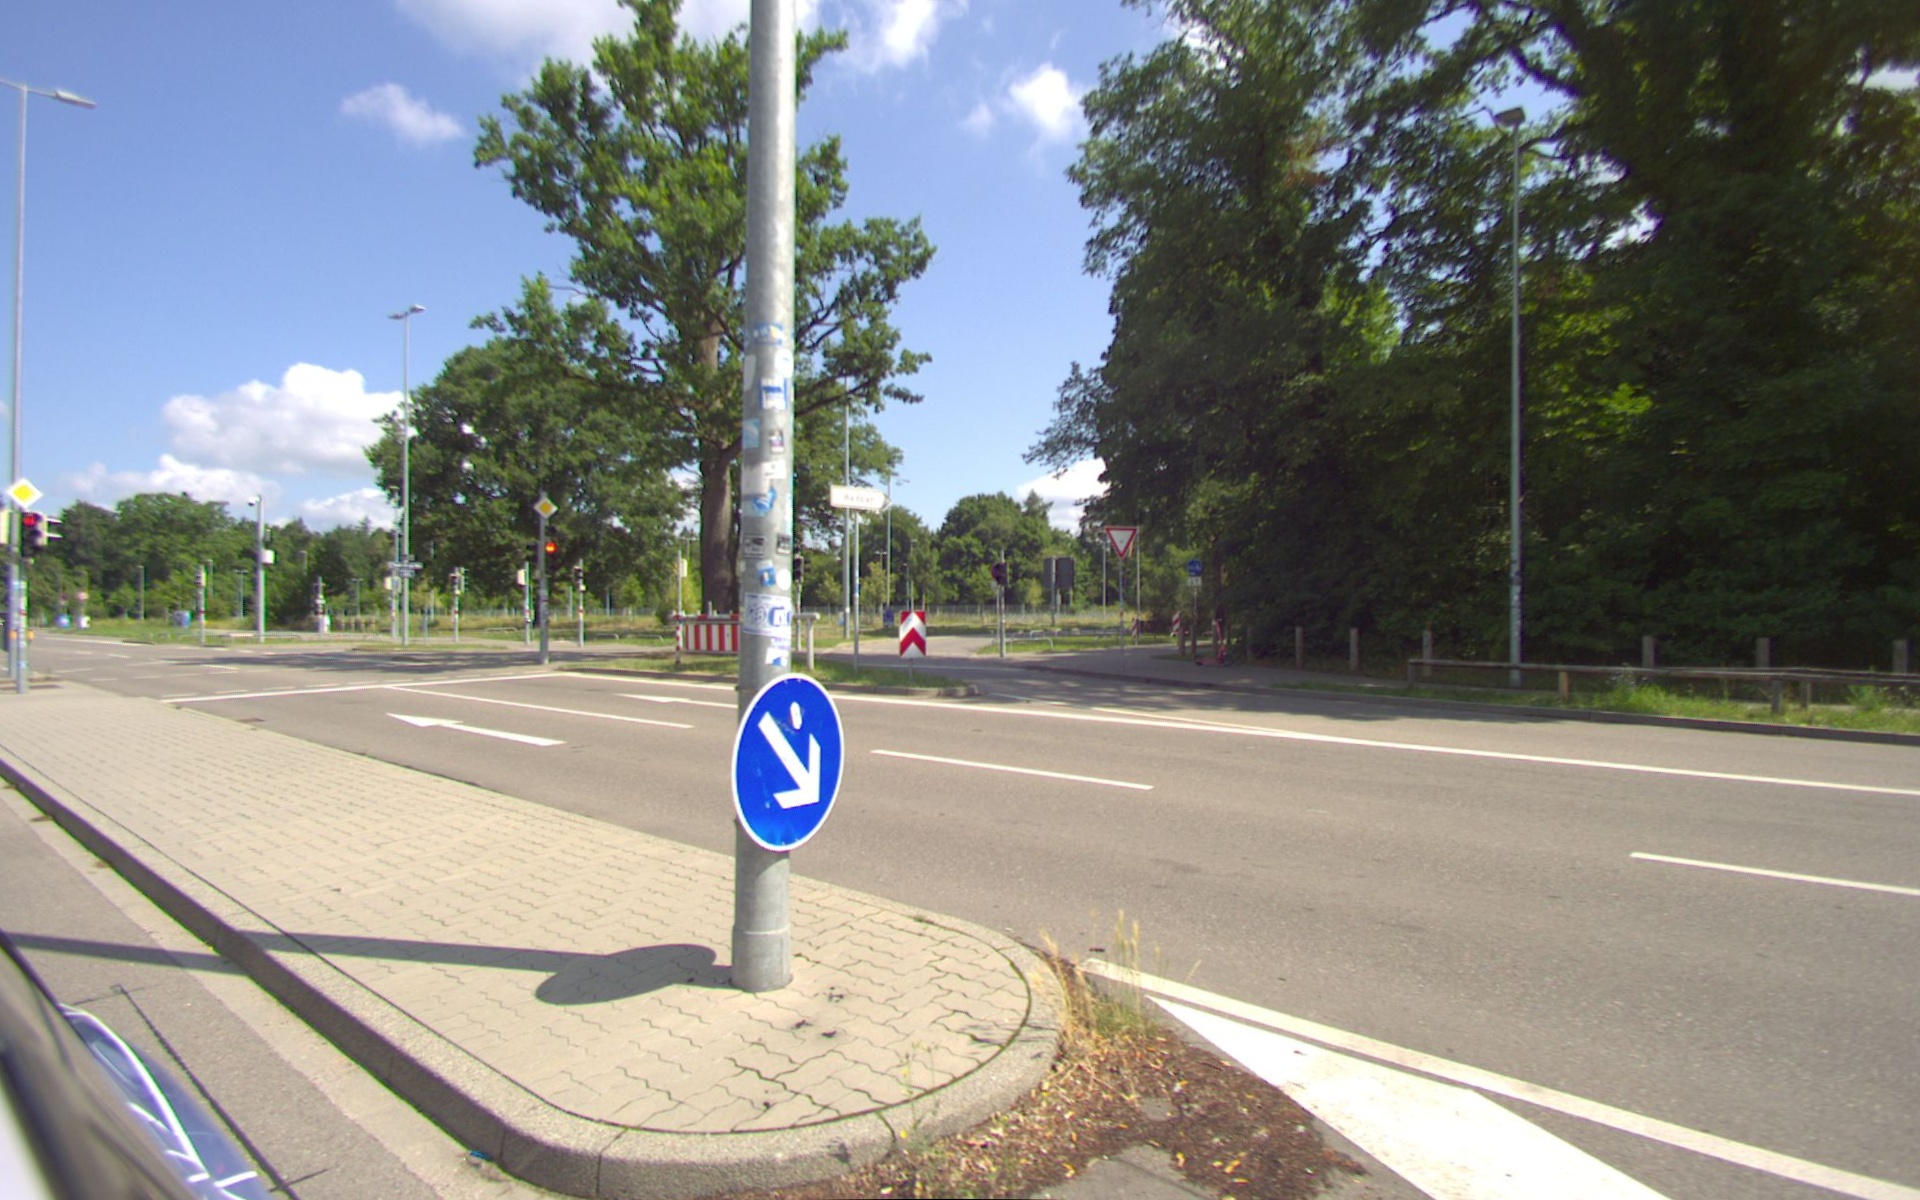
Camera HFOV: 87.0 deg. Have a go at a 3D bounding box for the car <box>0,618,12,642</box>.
[{"bbox_3d":[-74.440,2.366,77.715,4.705,1.778,1.954,-2,-1,41],"label":"car"}]

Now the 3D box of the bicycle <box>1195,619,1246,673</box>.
[{"bbox_3d":[6.032,1.050,23.439,0.414,1.182,1.233,-1,0,-27],"label":"bicycle"}]
